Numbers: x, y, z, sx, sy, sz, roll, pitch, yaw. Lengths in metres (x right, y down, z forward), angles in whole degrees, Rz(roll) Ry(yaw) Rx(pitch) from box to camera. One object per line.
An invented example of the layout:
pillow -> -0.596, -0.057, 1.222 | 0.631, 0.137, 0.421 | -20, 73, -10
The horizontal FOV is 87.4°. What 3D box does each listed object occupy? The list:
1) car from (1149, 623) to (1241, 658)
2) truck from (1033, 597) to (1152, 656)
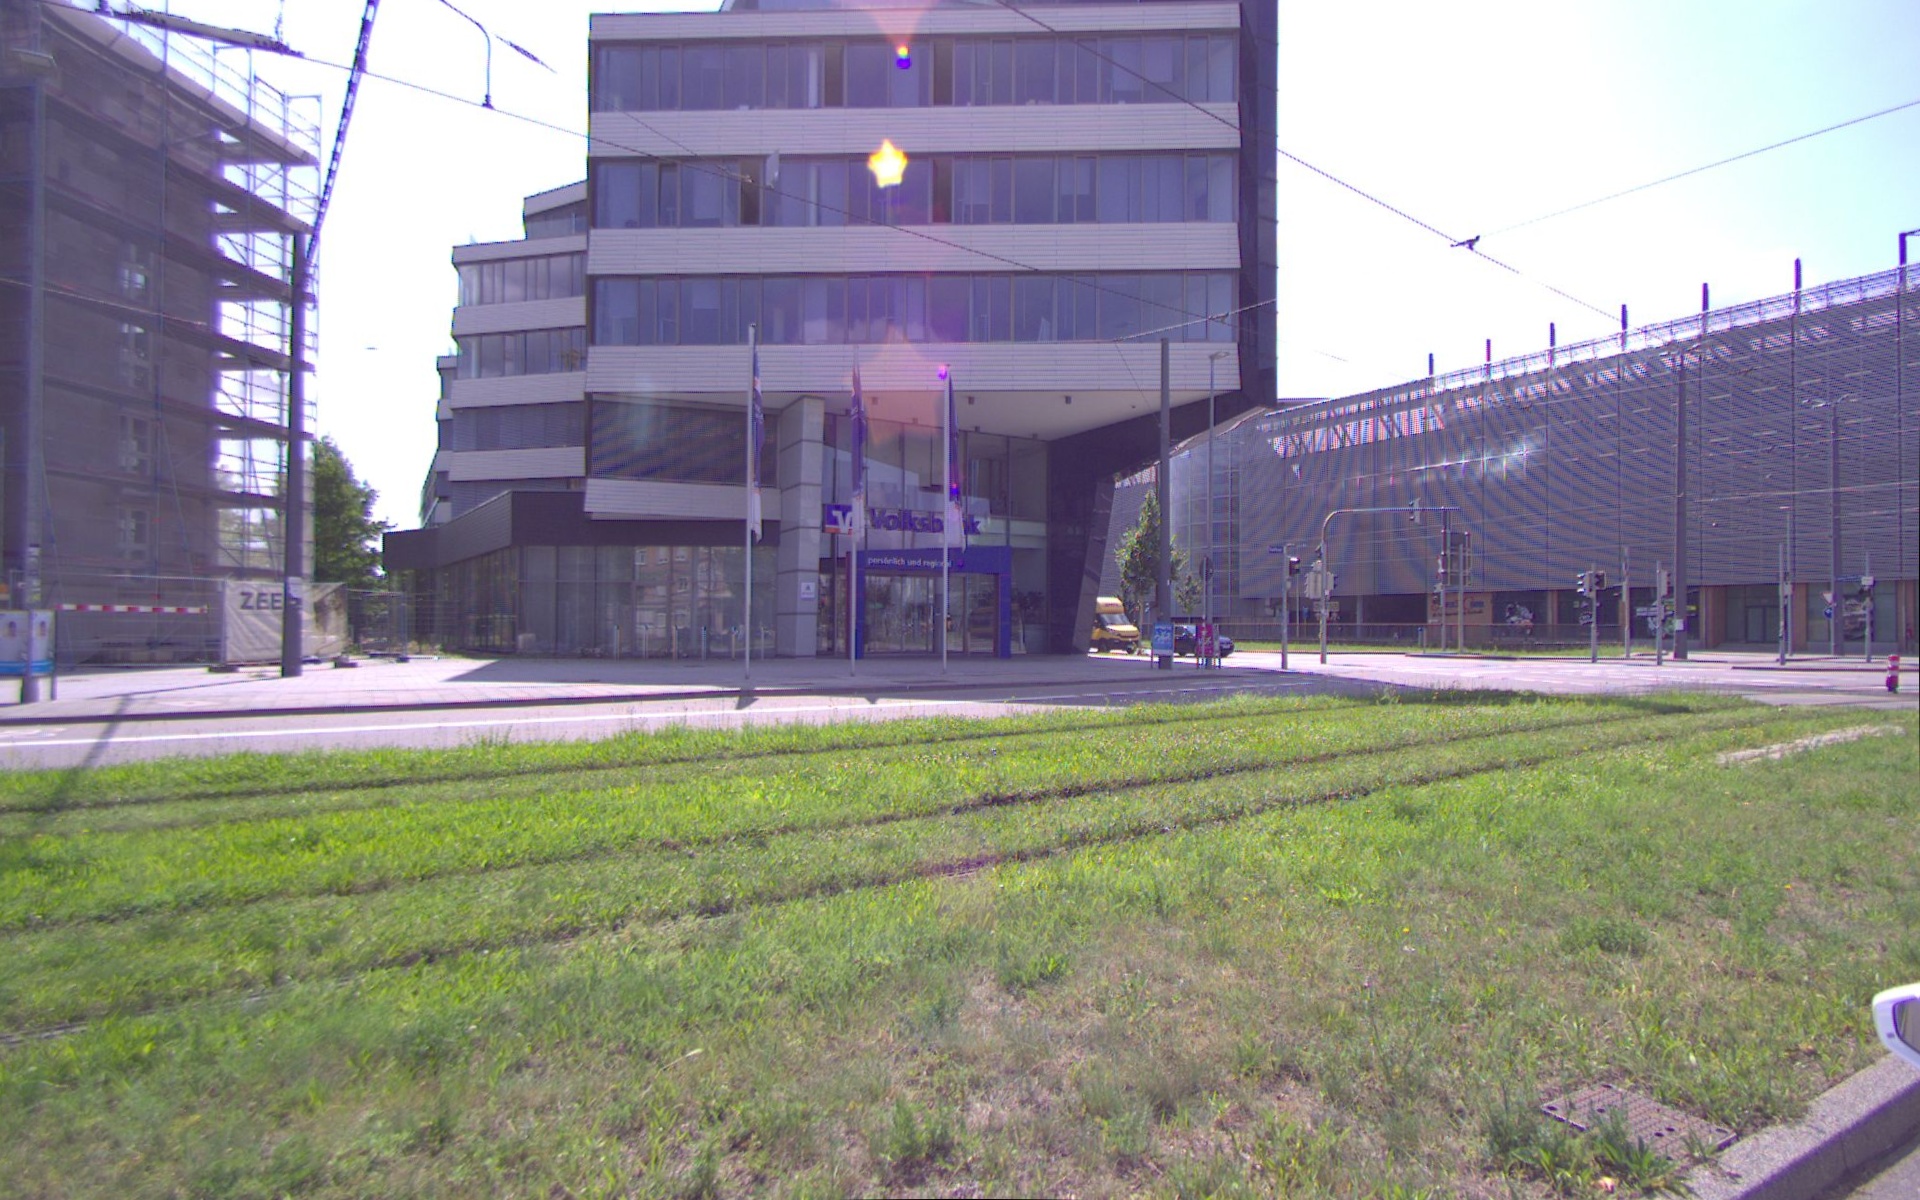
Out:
car -> 10.676, 1.802, 45.886 | 1.806, 1.488, 4.078 | 1, -1, -30
truck -> 6.787, 1.336, 52.394 | 2.419, 2.866, 6.811 | 1, -1, -32
